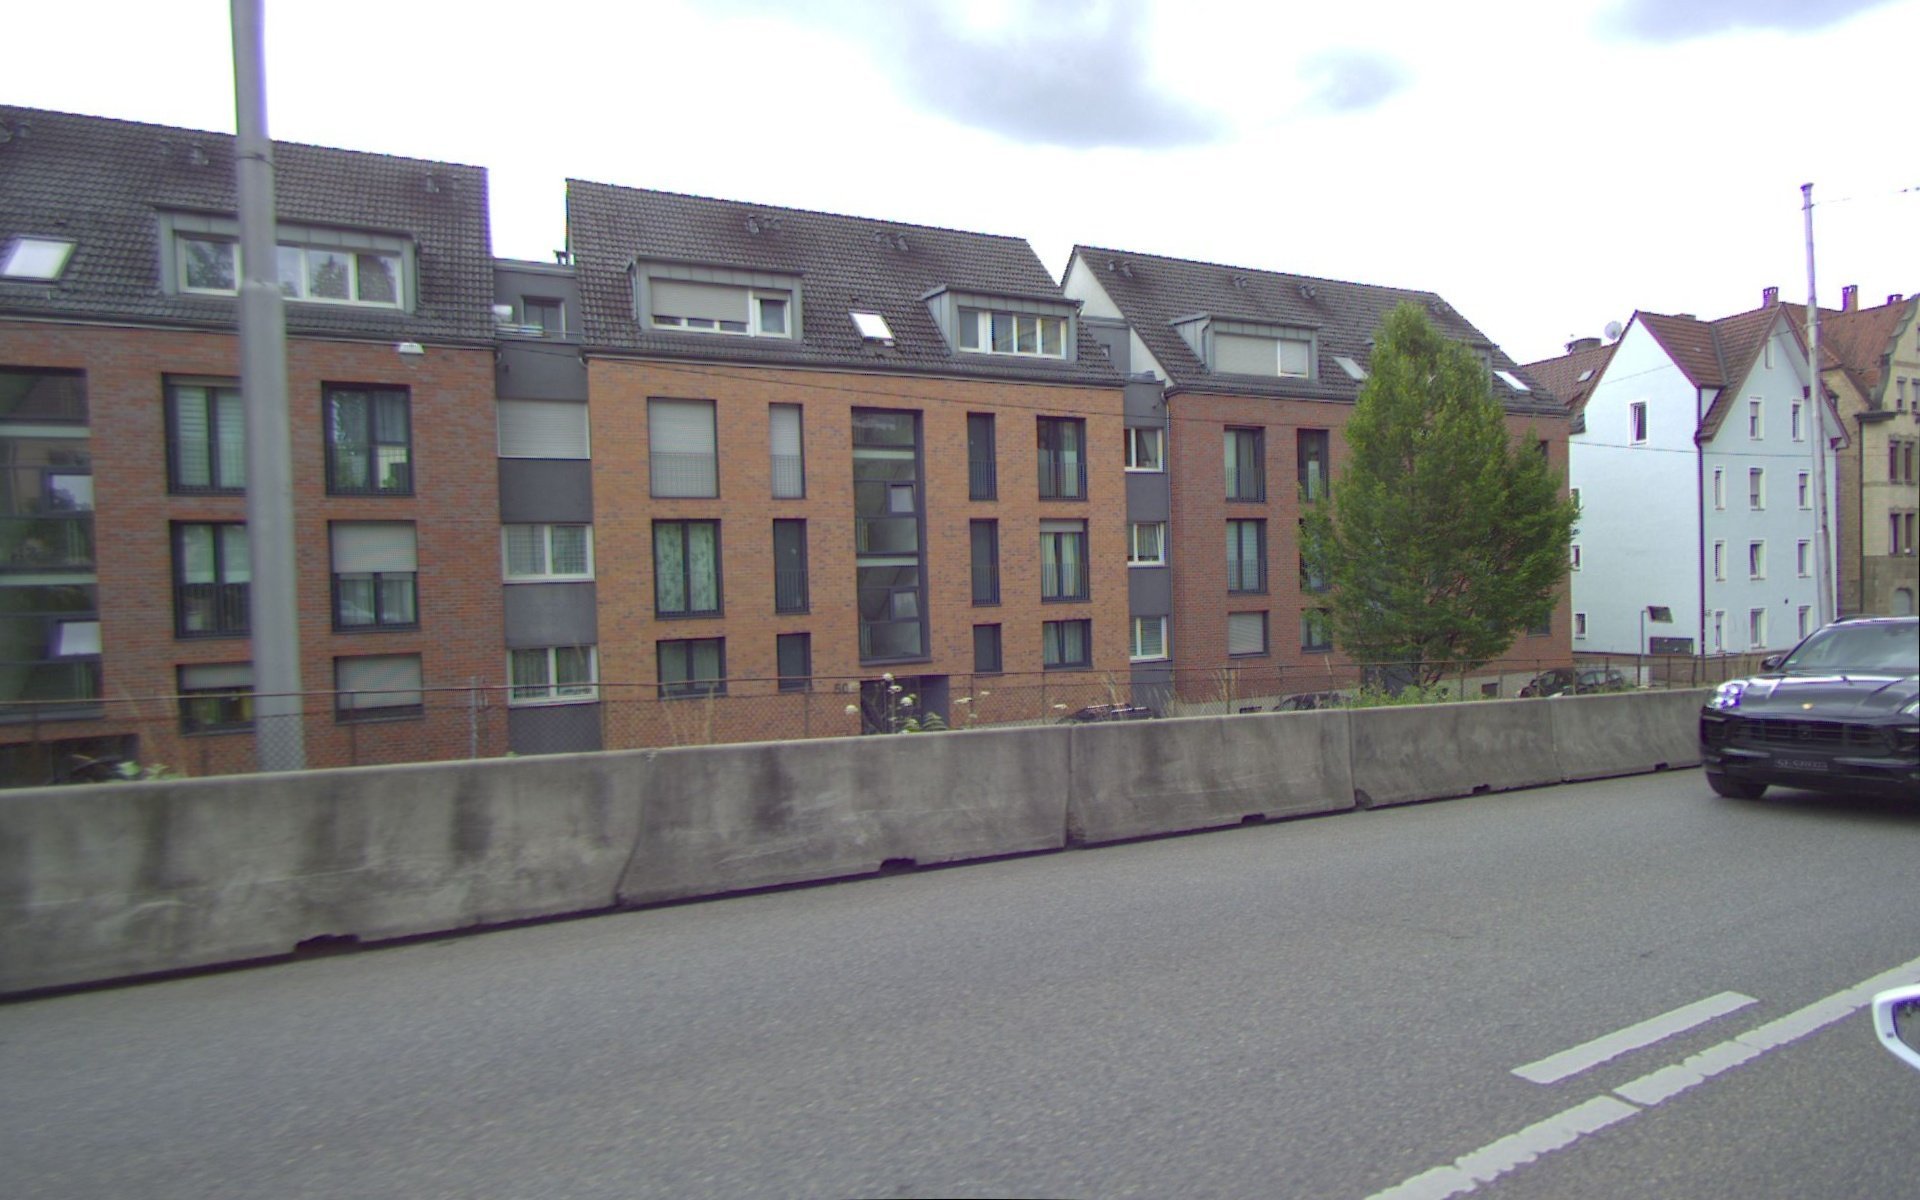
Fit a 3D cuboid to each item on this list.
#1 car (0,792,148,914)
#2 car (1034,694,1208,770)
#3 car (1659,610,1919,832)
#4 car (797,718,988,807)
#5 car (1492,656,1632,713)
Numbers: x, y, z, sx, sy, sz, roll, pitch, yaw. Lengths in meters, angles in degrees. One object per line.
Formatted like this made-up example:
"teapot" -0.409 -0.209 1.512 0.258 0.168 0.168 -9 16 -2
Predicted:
"car" -15.868 4.155 16.207 3.945 1.530 1.790 0 -2 -24
"car" 4.026 3.225 25.099 3.944 1.530 1.790 0 -2 -24
"car" 8.432 0.898 8.878 4.321 1.595 1.974 0 -2 -29
"car" -1.533 3.614 22.785 3.944 1.530 1.790 0 -2 -24
"car" 19.497 2.683 32.517 4.155 1.629 1.790 0 -2 -24
